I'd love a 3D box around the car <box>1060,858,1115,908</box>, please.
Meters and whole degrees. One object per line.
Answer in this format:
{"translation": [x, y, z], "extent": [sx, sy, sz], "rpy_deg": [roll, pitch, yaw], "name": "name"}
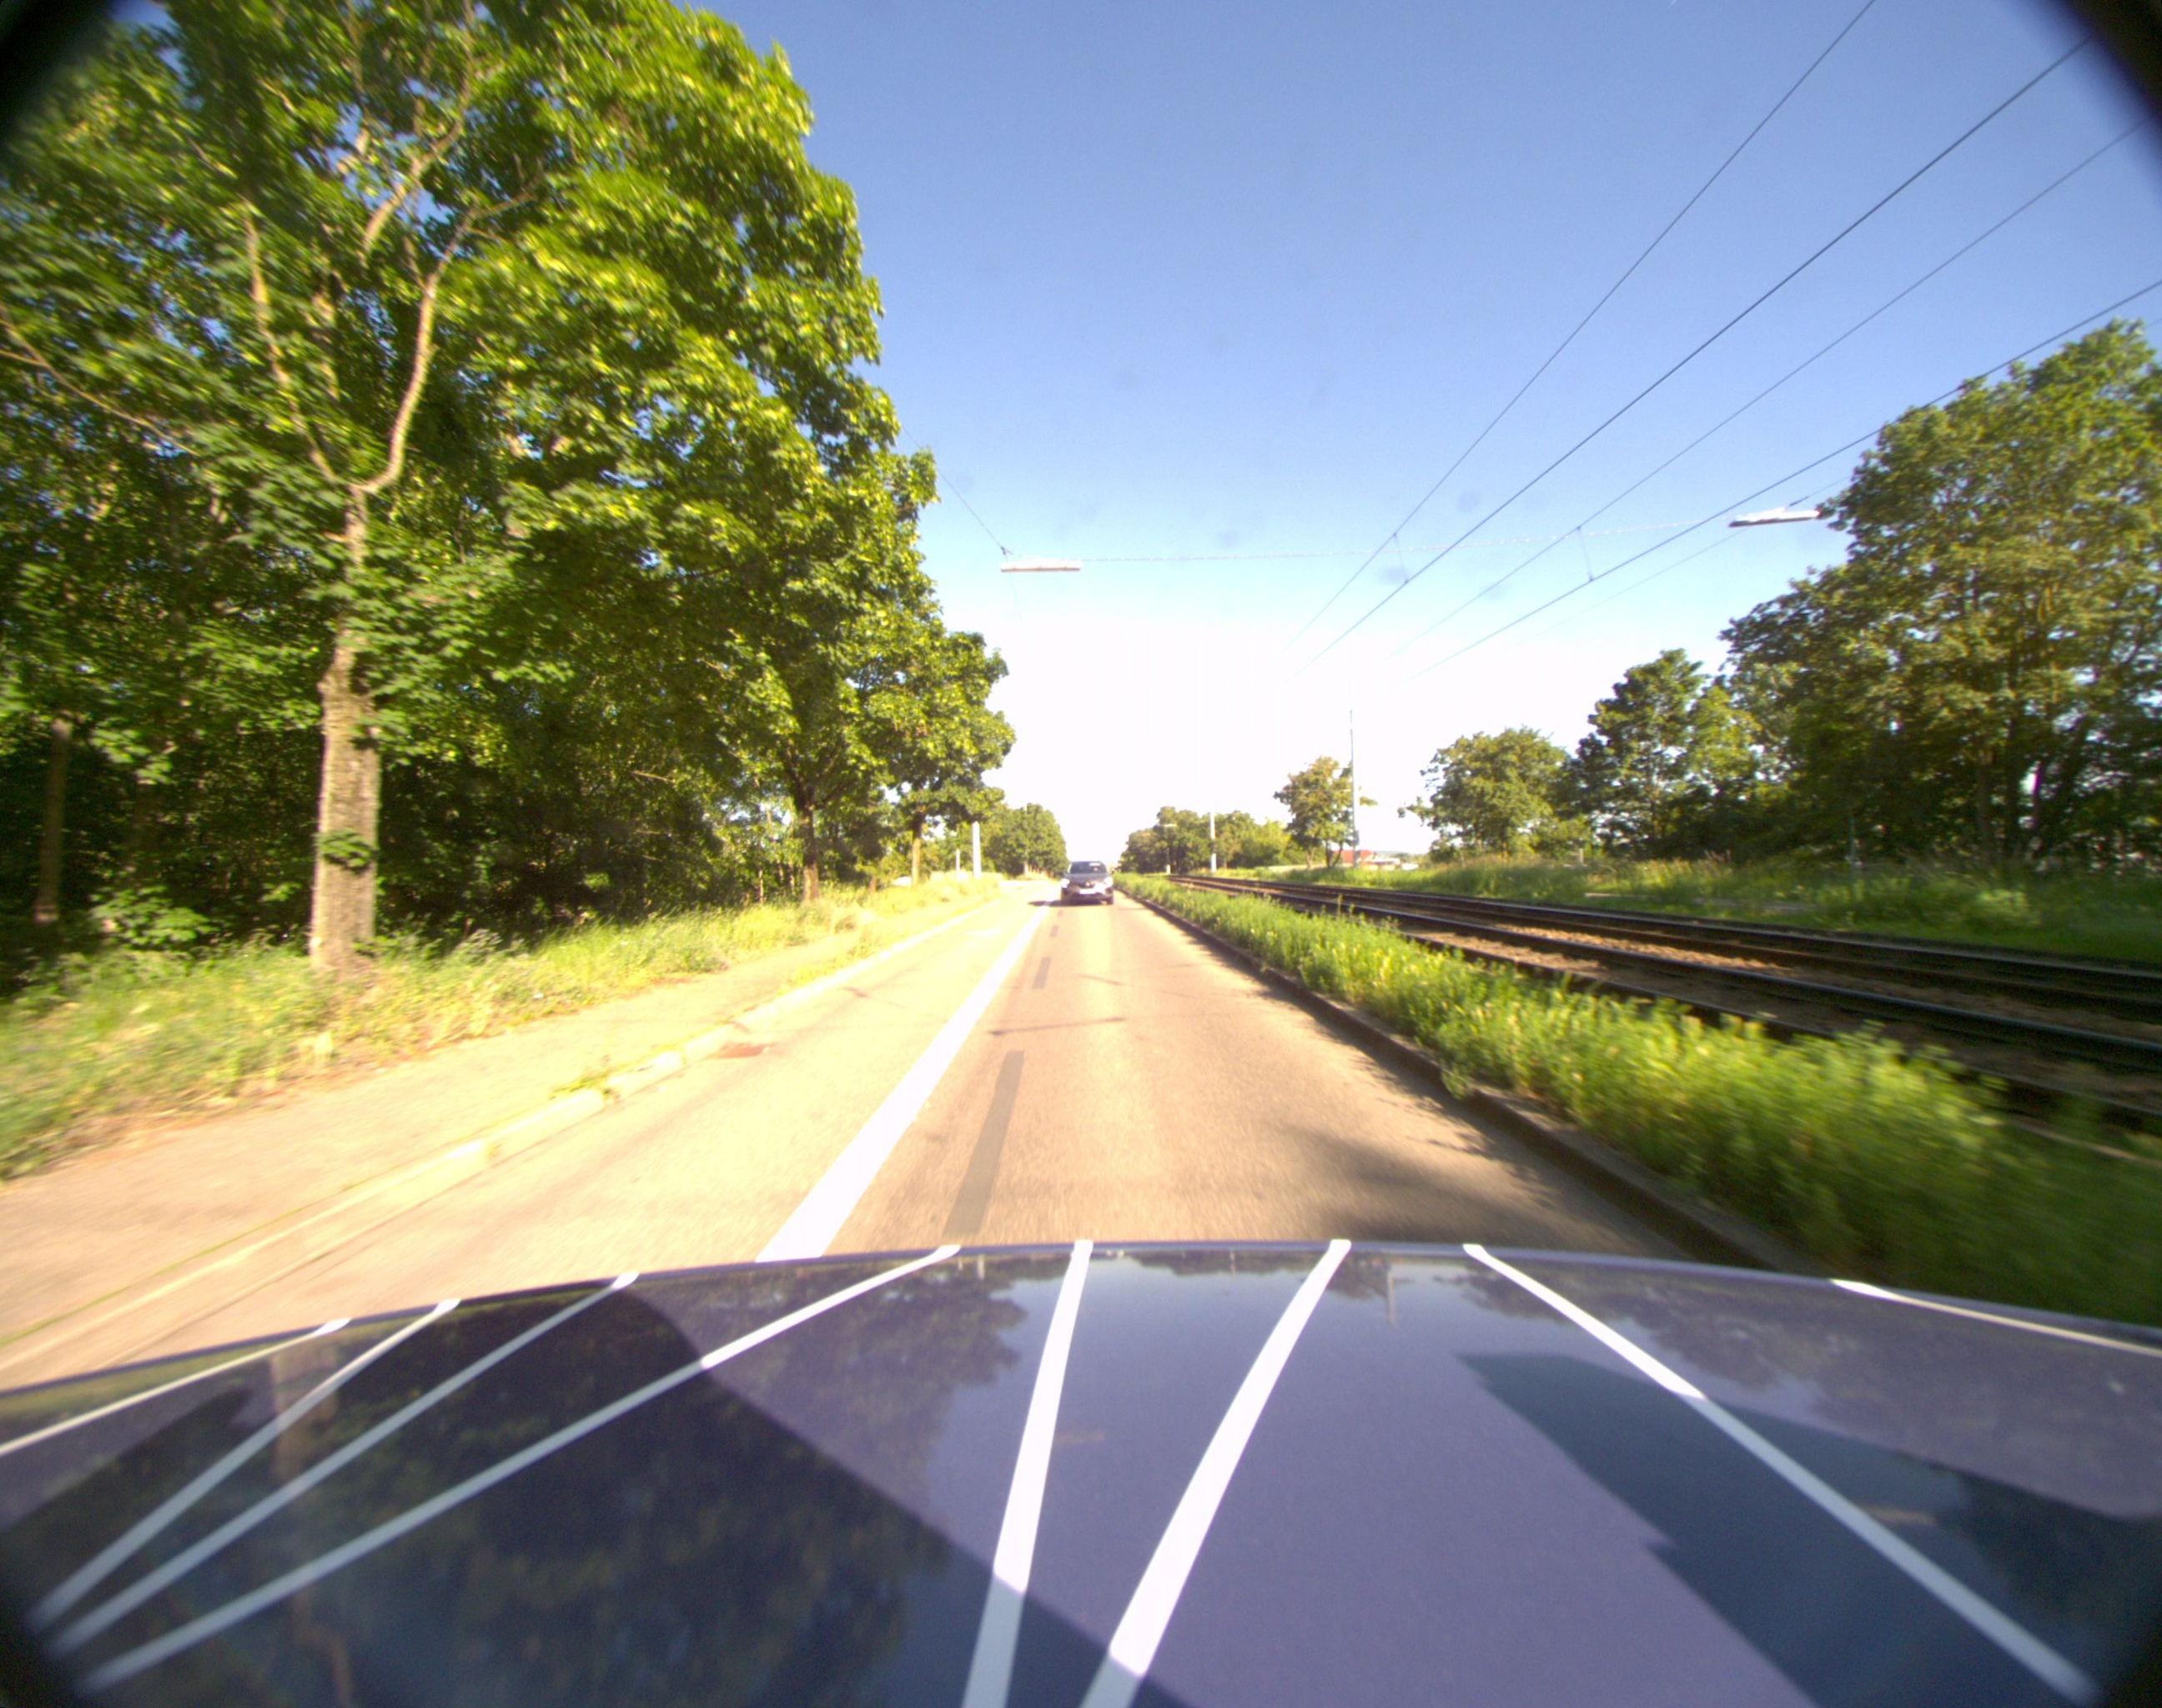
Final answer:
{"translation": [0.230, 0.954, 27.389], "extent": [1.814, 1.625, 4.710], "rpy_deg": [-1, 0, 0], "name": "car"}
